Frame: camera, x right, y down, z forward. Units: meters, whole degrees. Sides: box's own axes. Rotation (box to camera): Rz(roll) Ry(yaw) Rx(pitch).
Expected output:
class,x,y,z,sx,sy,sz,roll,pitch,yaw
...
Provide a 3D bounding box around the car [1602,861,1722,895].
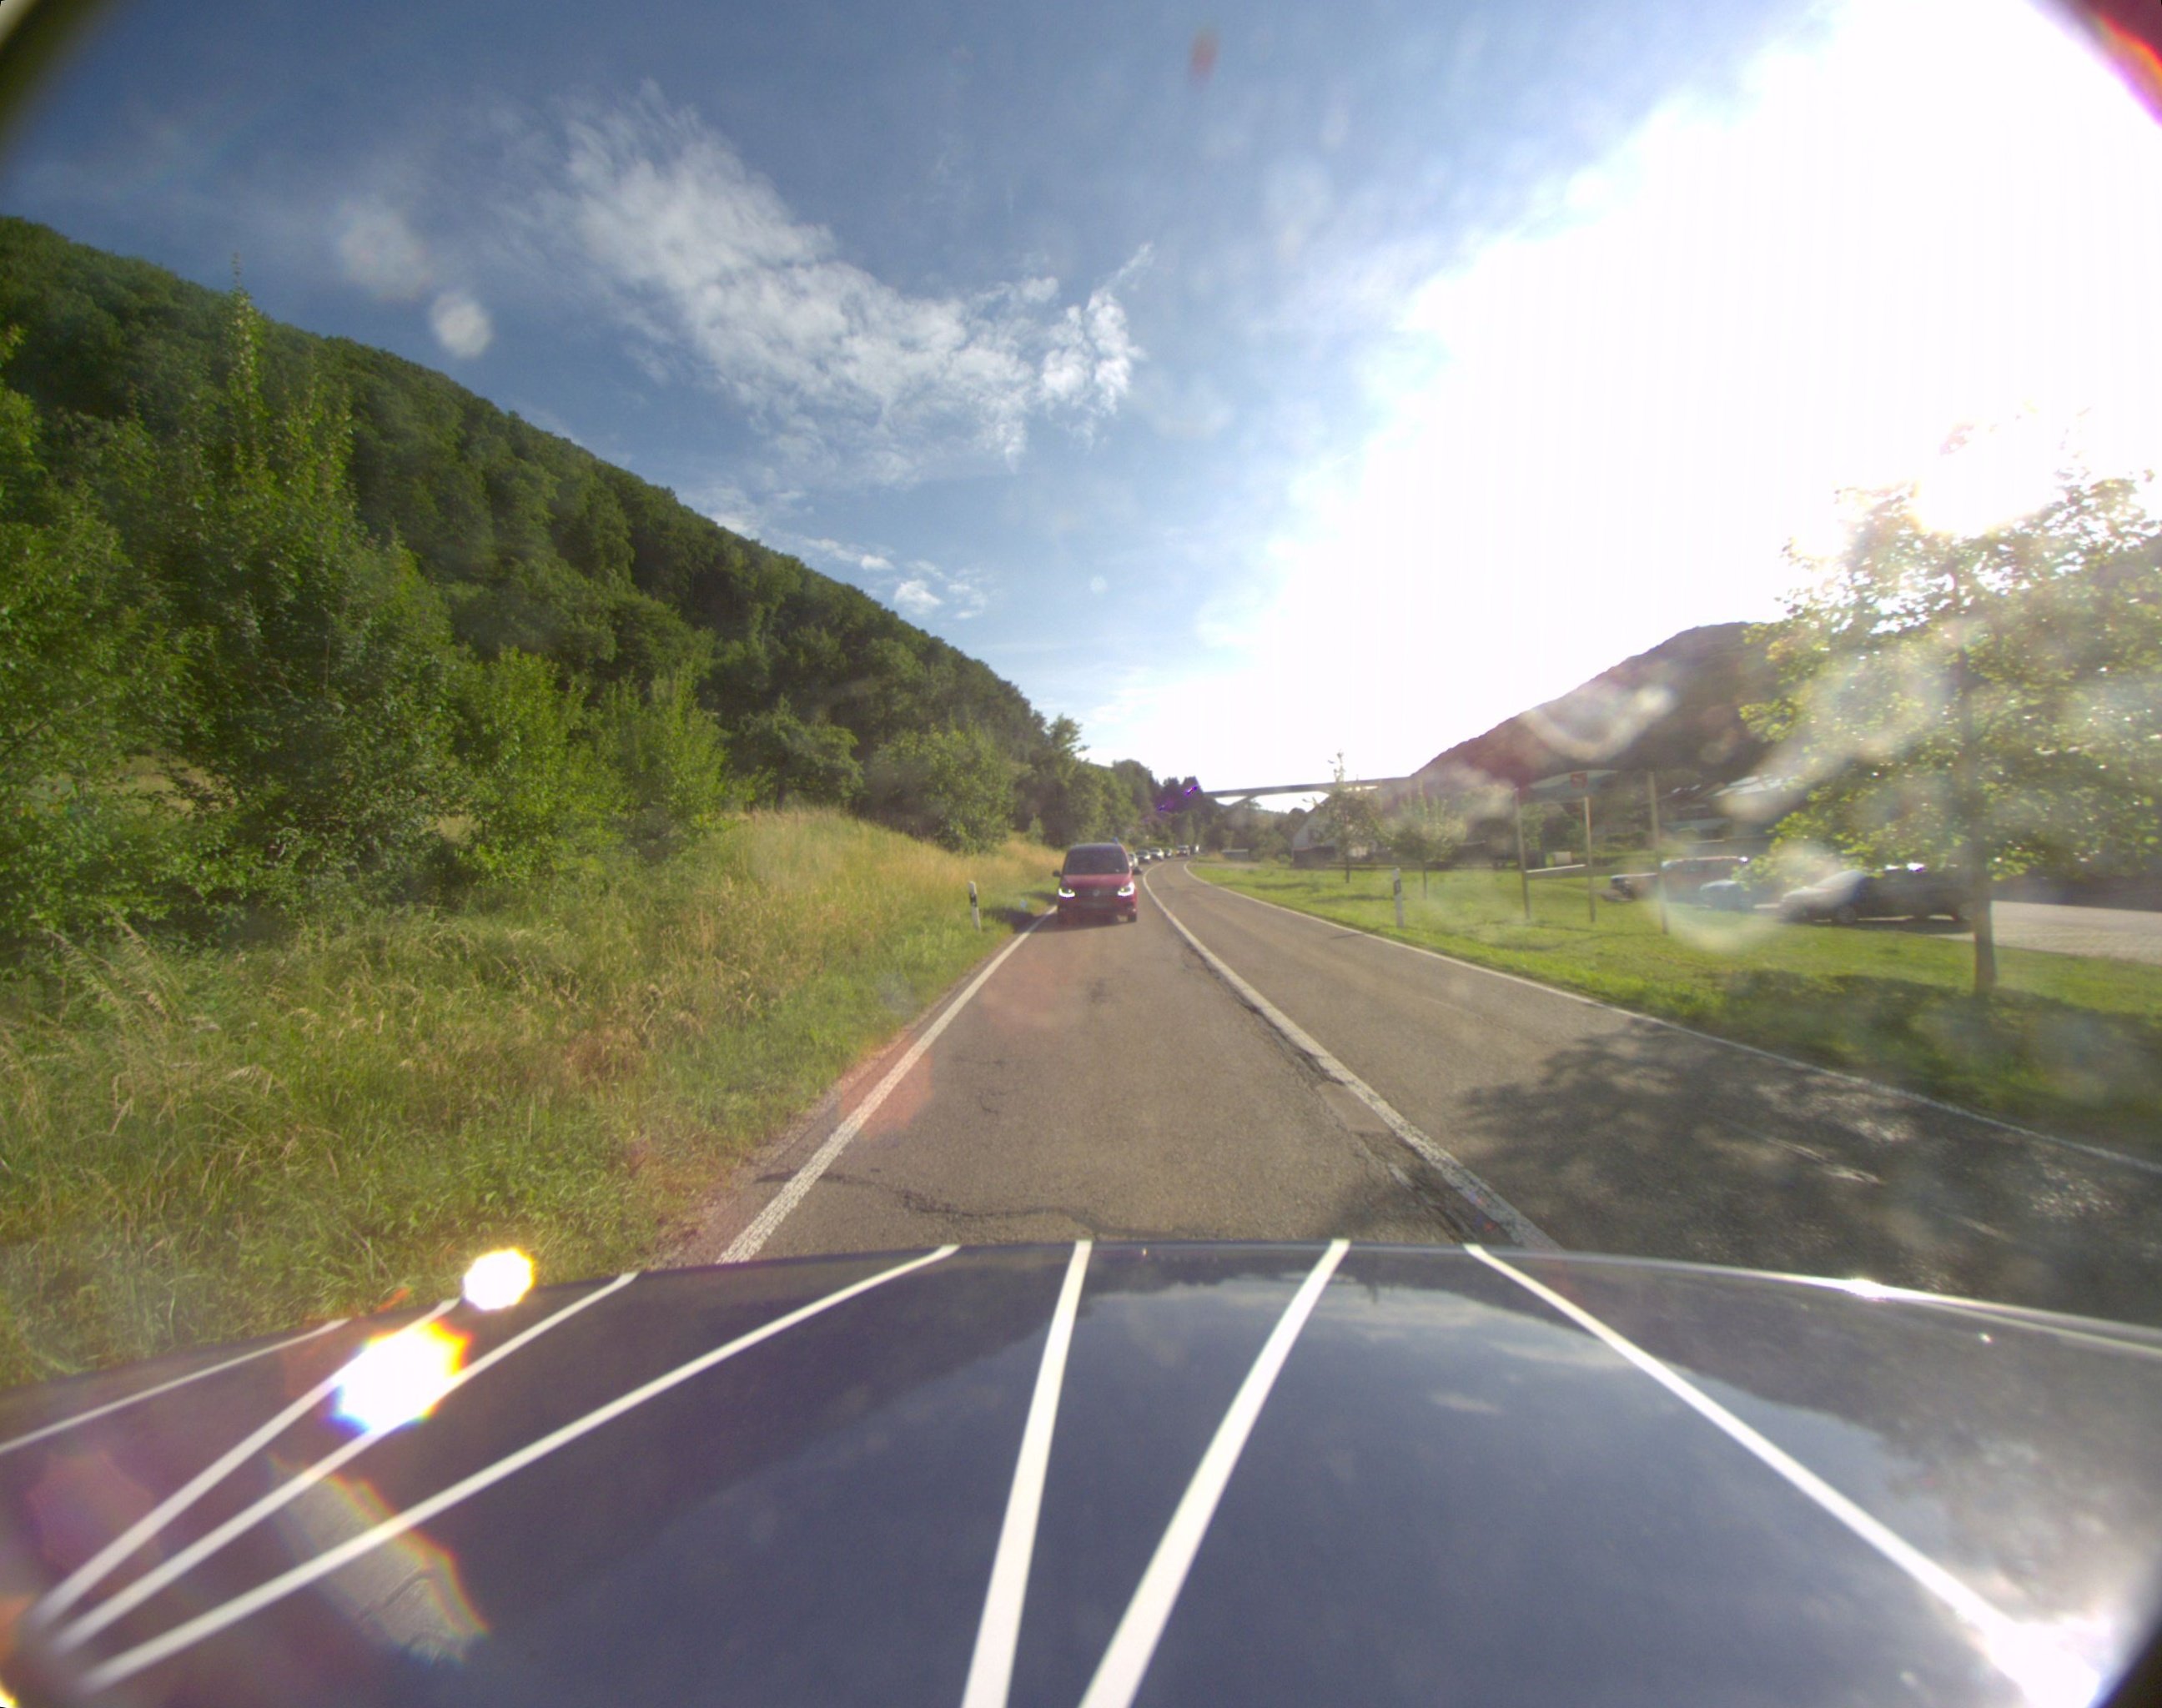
class,x,y,z,sx,sy,sz,roll,pitch,yaw
car,26.112,1.087,34.262,3.892,1.360,1.854,-1,1,13

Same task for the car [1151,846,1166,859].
class,x,y,z,sx,sy,sz,roll,pitch,yaw
car,9.695,-0.170,95.153,1.629,1.470,3.680,-2,1,5

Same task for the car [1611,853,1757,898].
class,x,y,z,sx,sy,sz,roll,pitch,yaw
car,24.838,0.885,31.475,4.327,1.659,1.850,-2,1,17

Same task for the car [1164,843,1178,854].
class,x,y,z,sx,sy,sz,roll,pitch,yaw
car,13.247,-0.835,111.543,1.628,1.470,3.682,-2,1,12

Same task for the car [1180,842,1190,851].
class,x,y,z,sx,sy,sz,roll,pitch,yaw
car,17.499,-1.308,128.296,1.629,1.470,3.681,-2,1,7

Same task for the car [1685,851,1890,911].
class,x,y,z,sx,sy,sz,roll,pitch,yaw
car,23.992,0.916,25.989,5.000,1.783,1.685,-2,1,11

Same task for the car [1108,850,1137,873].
class,x,y,z,sx,sy,sz,roll,pitch,yaw
car,2.971,0.497,53.476,1.629,1.470,3.681,-2,1,8

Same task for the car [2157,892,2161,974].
class,x,y,z,sx,sy,sz,roll,pitch,yaw
car,19.924,1.285,11.720,3.726,1.390,1.617,-2,1,12

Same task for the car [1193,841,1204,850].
class,x,y,z,sx,sy,sz,roll,pitch,yaw
car,21.806,-1.585,140.962,1.628,1.470,3.682,-2,1,12

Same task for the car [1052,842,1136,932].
class,x,y,z,sx,sy,sz,roll,pitch,yaw
car,0.406,0.653,17.526,1.649,1.762,4.000,-2,1,4

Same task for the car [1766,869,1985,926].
class,x,y,z,sx,sy,sz,roll,pitch,yaw
car,22.289,1.206,21.489,4.014,1.443,1.686,-2,-1,11

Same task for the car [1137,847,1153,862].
class,x,y,z,sx,sy,sz,roll,pitch,yaw
car,6.753,-0.003,80.467,1.629,1.470,3.680,-2,1,5

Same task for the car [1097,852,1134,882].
class,x,y,z,sx,sy,sz,roll,pitch,yaw
car,1.969,0.676,42.163,1.629,1.470,3.681,-2,1,8

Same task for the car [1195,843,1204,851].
class,x,y,z,sx,sy,sz,roll,pitch,yaw
car,23.376,-1.402,149.551,1.628,1.470,3.682,-2,1,12

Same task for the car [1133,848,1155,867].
class,x,y,z,sx,sy,sz,roll,pitch,yaw
car,5.373,0.281,64.694,1.629,1.470,3.681,-2,1,8
